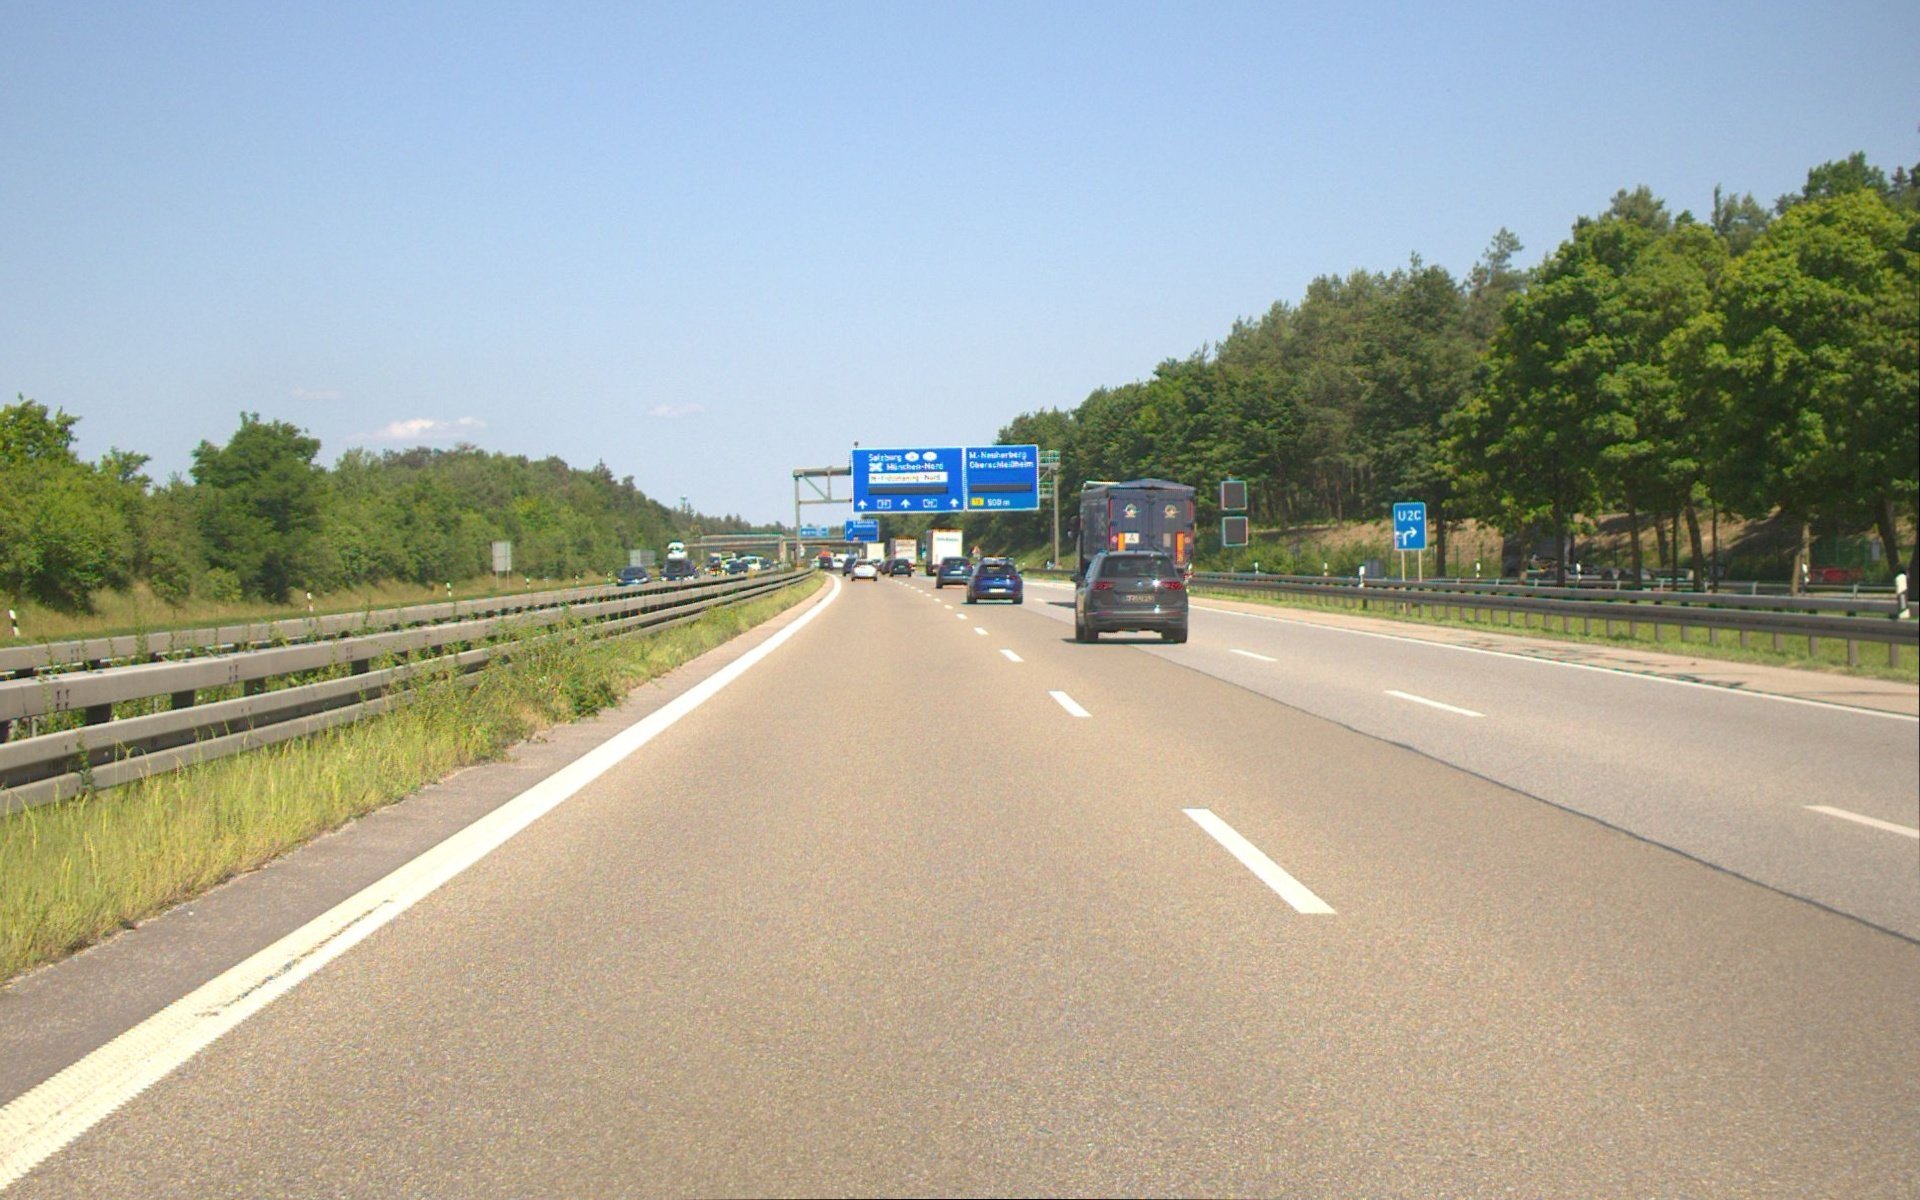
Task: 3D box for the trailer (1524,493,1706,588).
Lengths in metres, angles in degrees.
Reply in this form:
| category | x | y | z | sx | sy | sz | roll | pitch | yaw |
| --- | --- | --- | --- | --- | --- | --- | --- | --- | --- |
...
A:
| category | x | y | z | sx | sy | sz | roll | pitch | yaw |
| --- | --- | --- | --- | --- | --- | --- | --- | --- | --- |
| trailer | 27.915 | -2.535 | 147.246 | 2.571 | 3.901 | 12.753 | 0 | 1 | -14 |

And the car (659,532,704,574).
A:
| category | x | y | z | sx | sy | sz | roll | pitch | yaw |
| --- | --- | --- | --- | --- | --- | --- | --- | --- | --- |
| car | -14.554 | -2.475 | 179.630 | 1.993 | 2.102 | 4.302 | -2 | 1 | -1 |

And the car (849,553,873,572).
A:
| category | x | y | z | sx | sy | sz | roll | pitch | yaw |
| --- | --- | --- | --- | --- | --- | --- | --- | --- | --- |
| car | -6.652 | -2.531 | 231.095 | 1.471 | 1.223 | 3.410 | -1 | 1 | 0 |

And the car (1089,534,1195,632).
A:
| category | x | y | z | sx | sy | sz | roll | pitch | yaw |
| --- | --- | --- | --- | --- | --- | --- | --- | --- | --- |
| car | 3.215 | -0.331 | 61.386 | 1.799 | 1.663 | 4.258 | 1 | 1 | 2 |

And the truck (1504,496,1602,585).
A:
| category | x | y | z | sx | sy | sz | roll | pitch | yaw |
| --- | --- | --- | --- | --- | --- | --- | --- | --- | --- |
| truck | 26.416 | -2.660 | 153.220 | 2.571 | 3.901 | 4.868 | 0 | 1 | -14 |

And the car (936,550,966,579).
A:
| category | x | y | z | sx | sy | sz | roll | pitch | yaw |
| --- | --- | --- | --- | --- | --- | --- | --- | --- | --- |
| car | -0.459 | -1.802 | 173.087 | 1.471 | 1.393 | 3.410 | 2 | 1 | 0 |

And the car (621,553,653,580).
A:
| category | x | y | z | sx | sy | sz | roll | pitch | yaw |
| --- | --- | --- | --- | --- | --- | --- | --- | --- | --- |
| car | -18.065 | -1.882 | 192.346 | 1.513 | 1.481 | 3.373 | -1 | 1 | -1 |

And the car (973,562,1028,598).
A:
| category | x | y | z | sx | sy | sz | roll | pitch | yaw |
| --- | --- | --- | --- | --- | --- | --- | --- | --- | --- |
| car | 1.331 | -0.678 | 114.038 | 1.709 | 1.151 | 3.689 | -1 | 1 | 0 |

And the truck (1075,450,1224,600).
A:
| category | x | y | z | sx | sy | sz | roll | pitch | yaw |
| --- | --- | --- | --- | --- | --- | --- | --- | --- | --- |
| truck | 5.823 | -2.340 | 108.419 | 3.780 | 4.407 | 14.051 | 0 | 1 | 0 |
